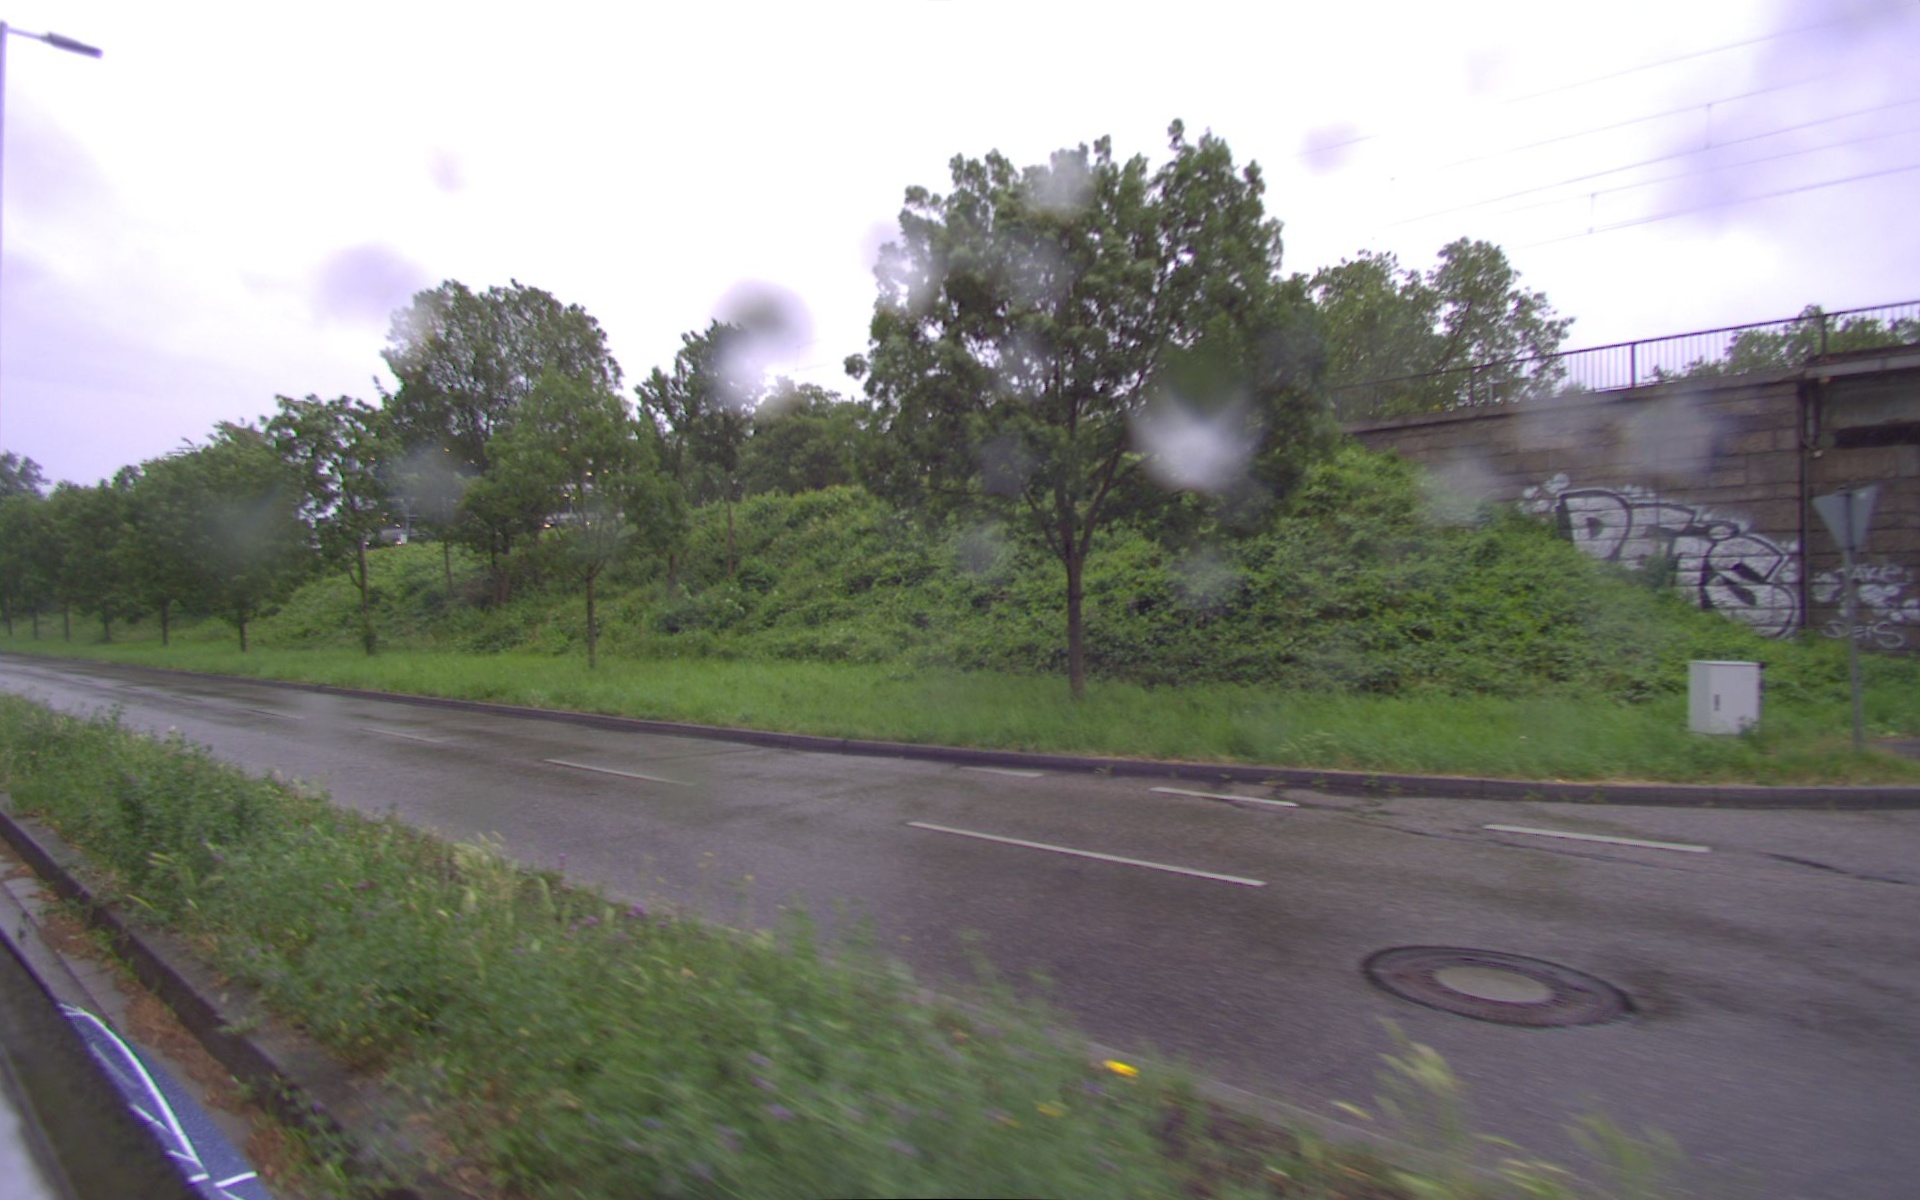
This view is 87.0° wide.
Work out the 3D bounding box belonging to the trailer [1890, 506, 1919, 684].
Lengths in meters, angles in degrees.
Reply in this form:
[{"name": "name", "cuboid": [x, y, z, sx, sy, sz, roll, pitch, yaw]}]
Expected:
[{"name": "trailer", "cuboid": [22.703, -0.185, 19.216, 2.655, 4.017, 8.508, 0, -1, 4]}]
